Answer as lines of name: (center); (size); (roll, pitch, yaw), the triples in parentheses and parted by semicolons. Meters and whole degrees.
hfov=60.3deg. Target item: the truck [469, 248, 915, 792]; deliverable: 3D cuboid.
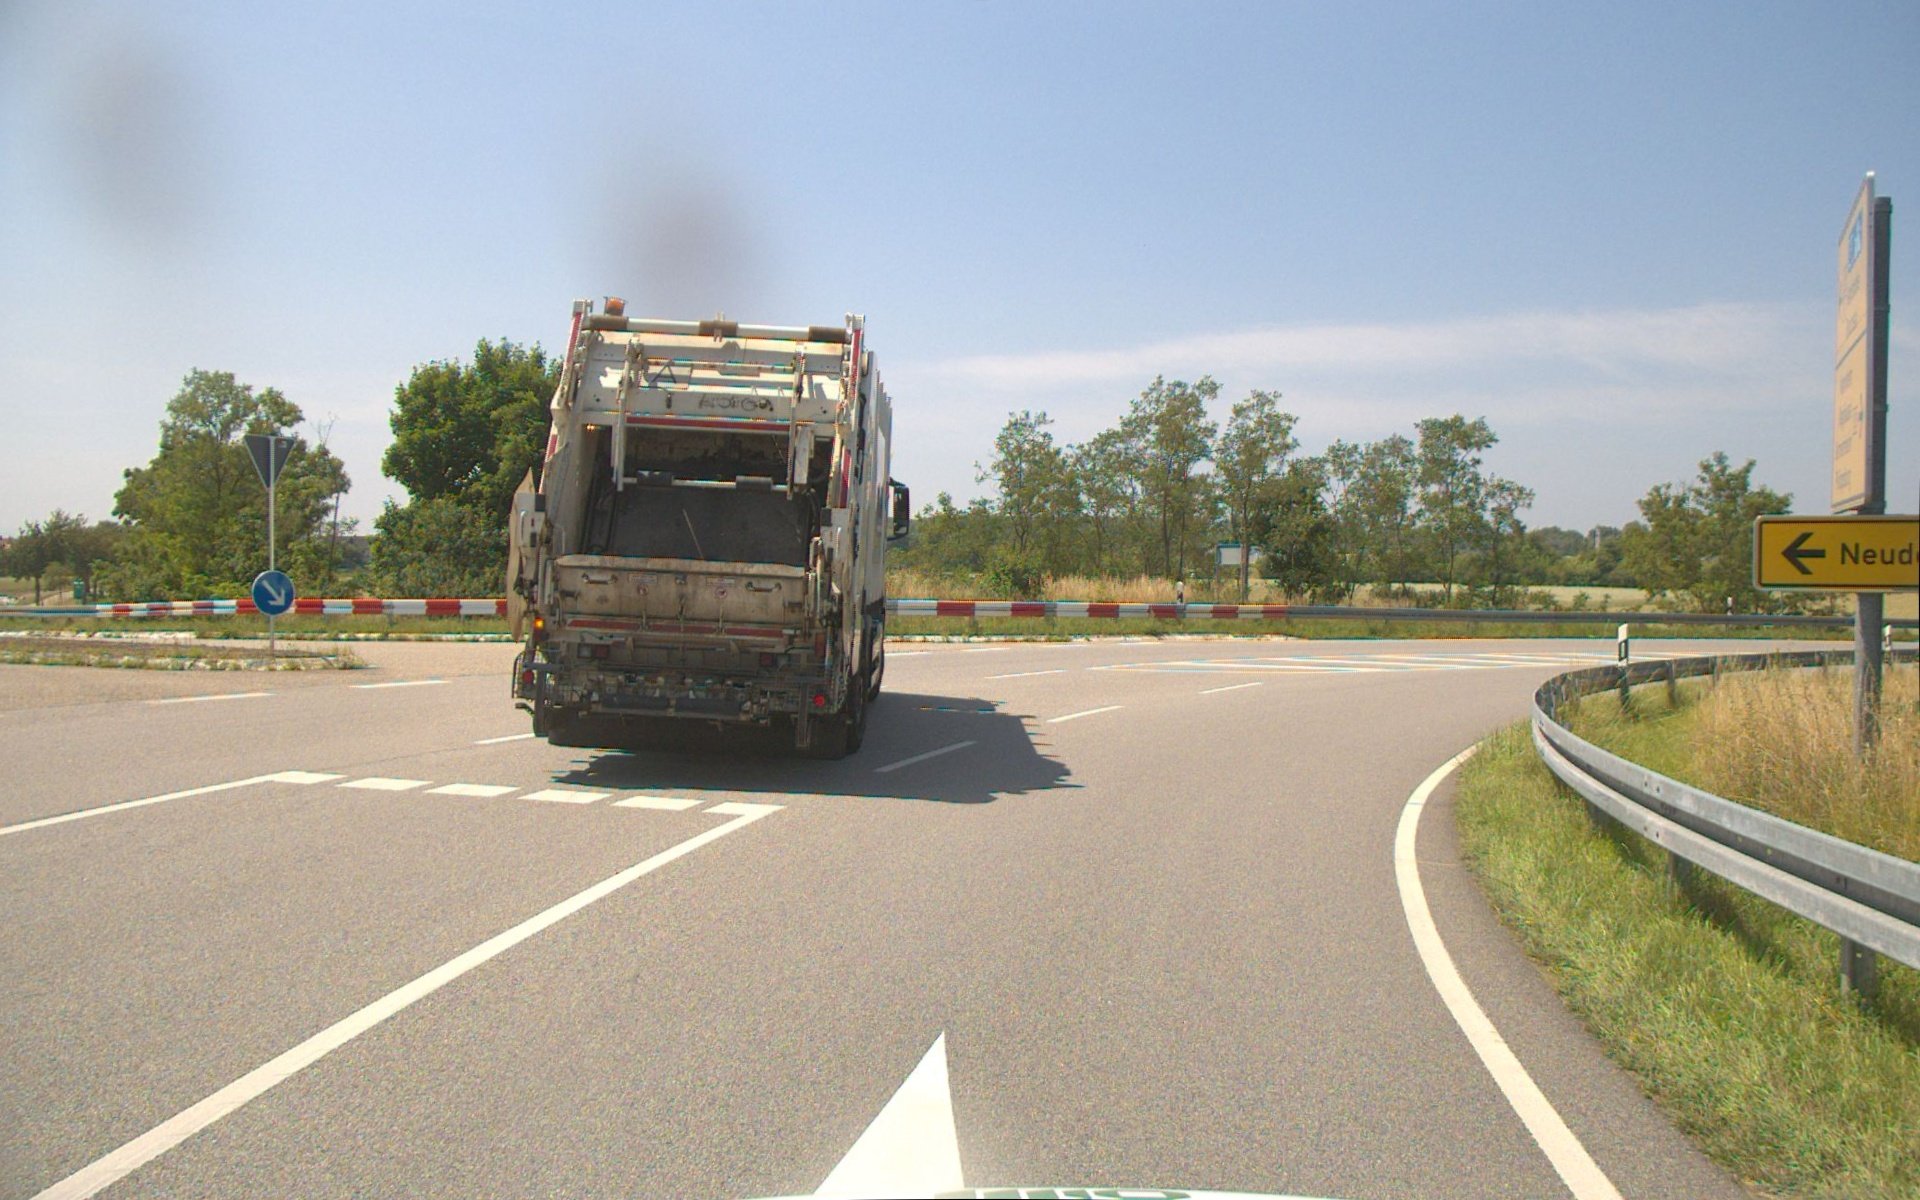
truck: (-2.030, -0.666, 16.654); (2.755, 3.732, 9.948); (2, 1, 0)
